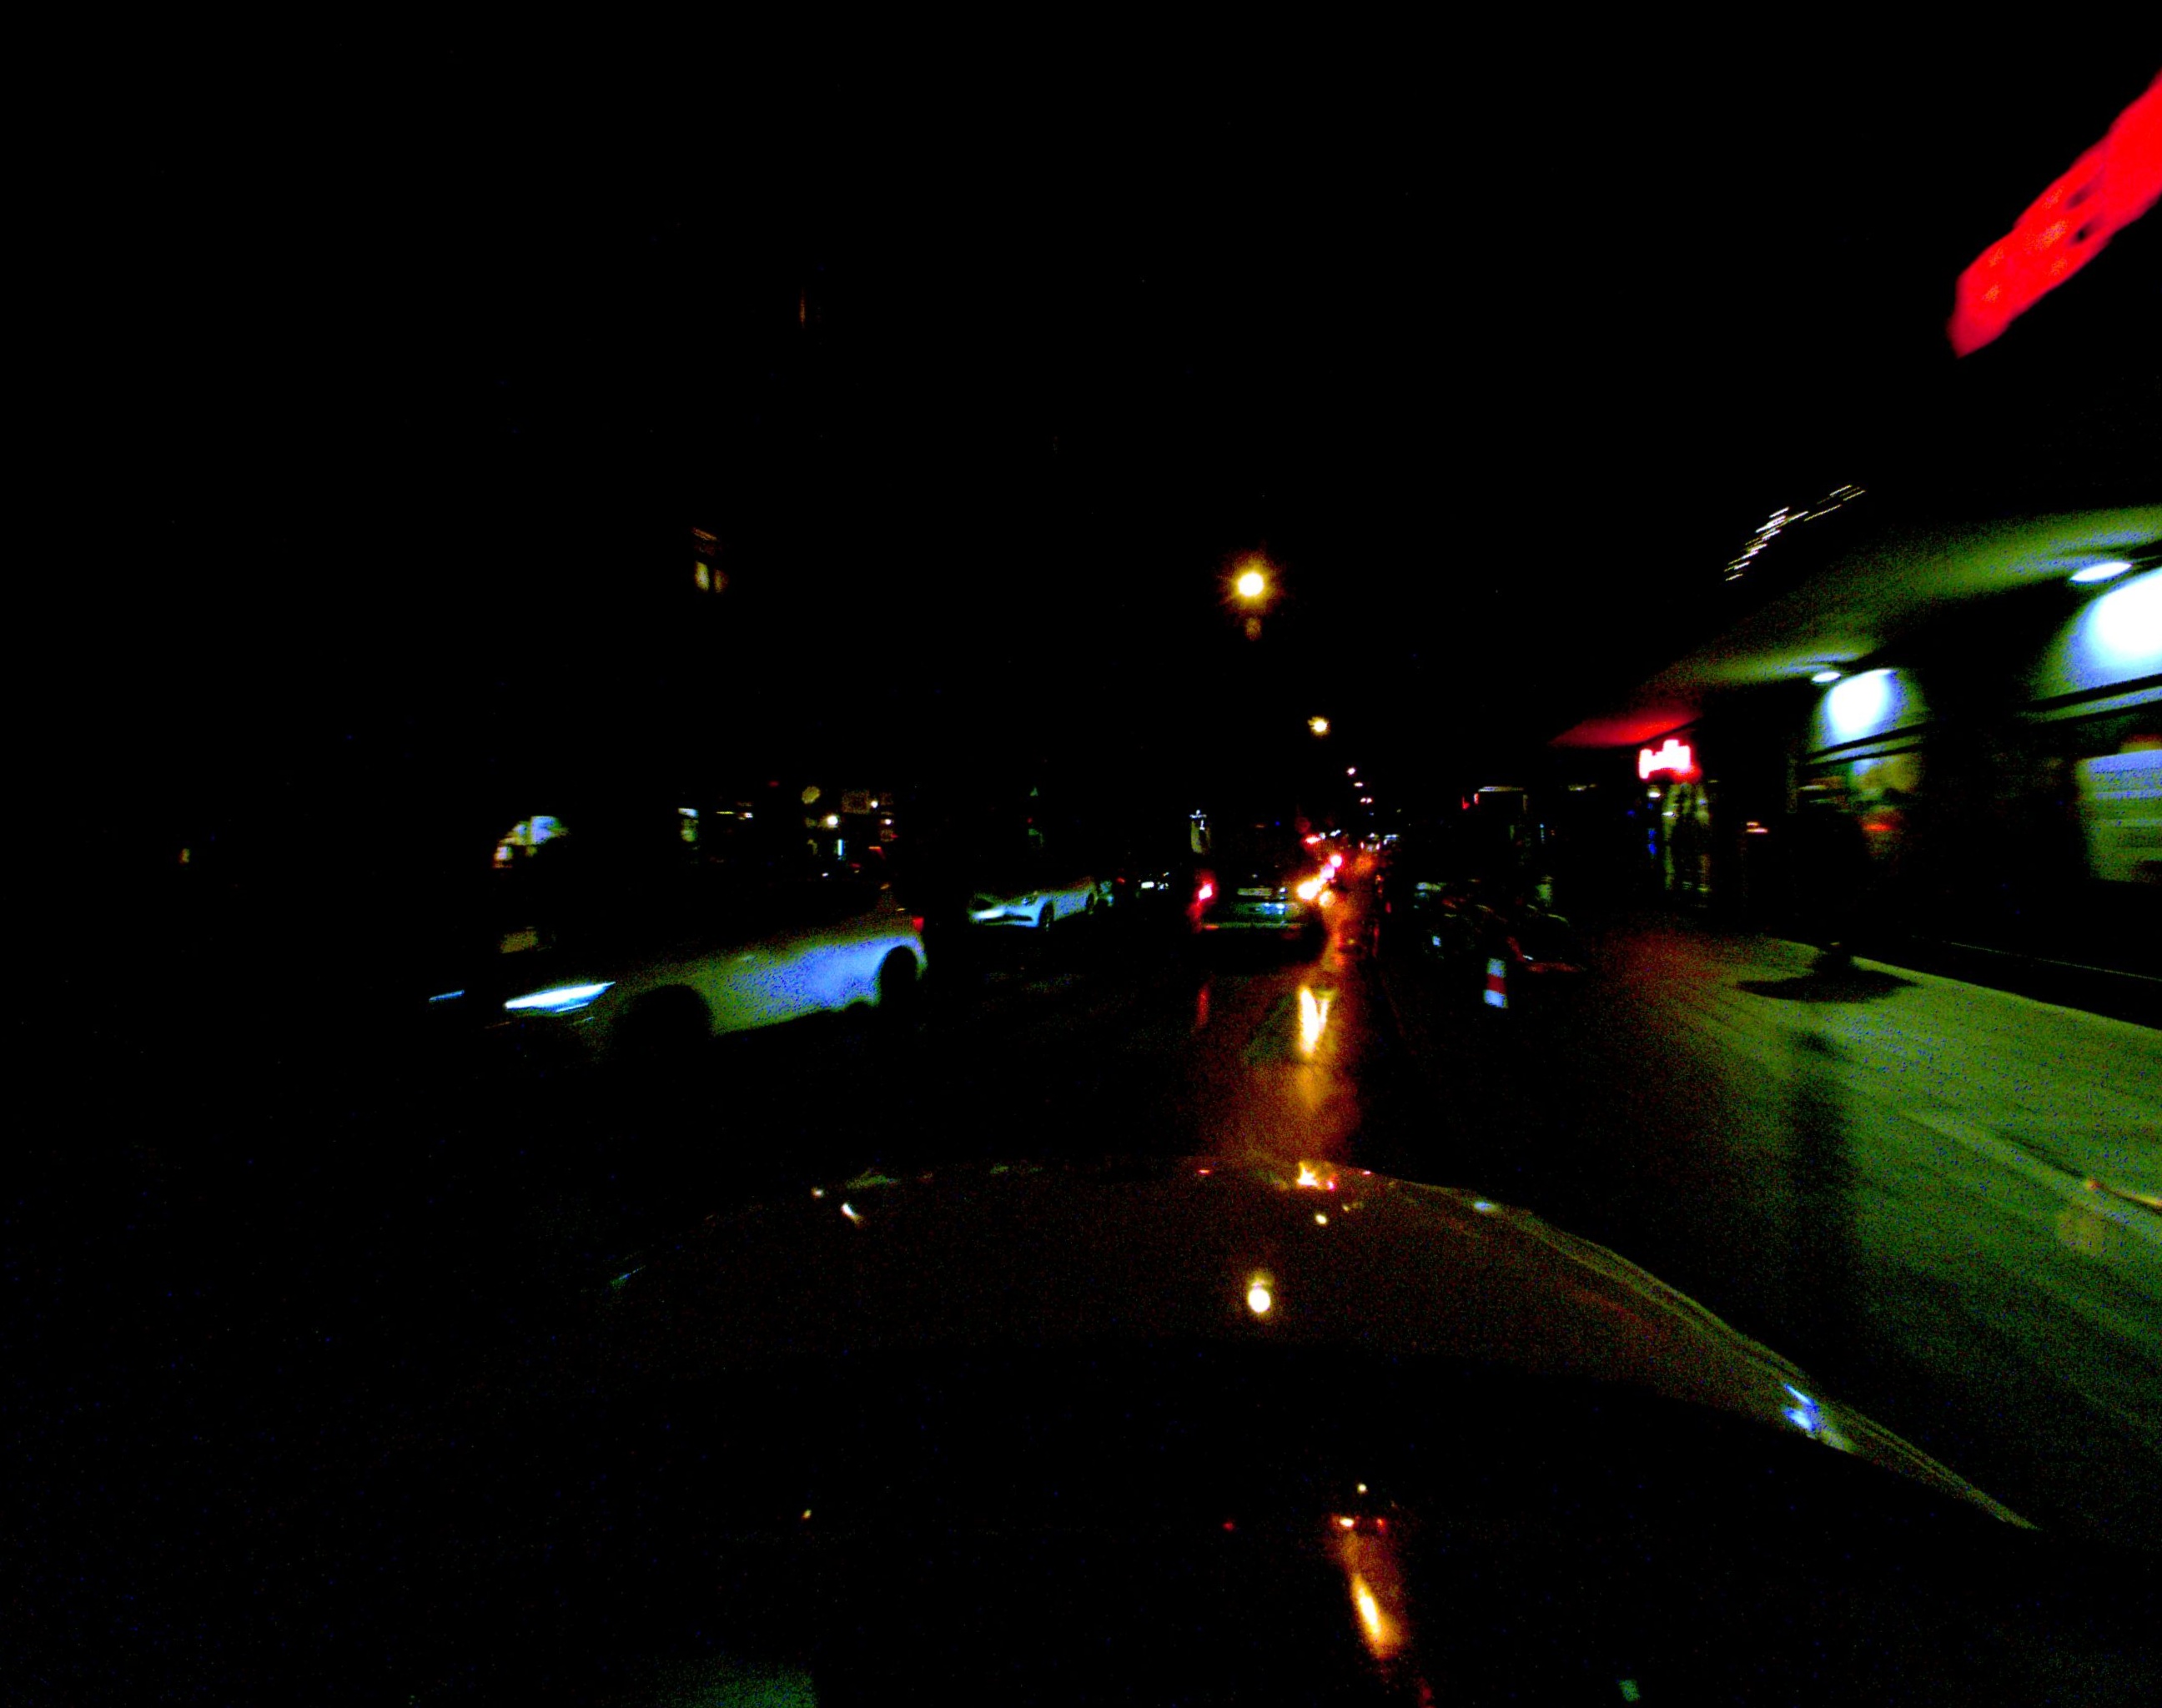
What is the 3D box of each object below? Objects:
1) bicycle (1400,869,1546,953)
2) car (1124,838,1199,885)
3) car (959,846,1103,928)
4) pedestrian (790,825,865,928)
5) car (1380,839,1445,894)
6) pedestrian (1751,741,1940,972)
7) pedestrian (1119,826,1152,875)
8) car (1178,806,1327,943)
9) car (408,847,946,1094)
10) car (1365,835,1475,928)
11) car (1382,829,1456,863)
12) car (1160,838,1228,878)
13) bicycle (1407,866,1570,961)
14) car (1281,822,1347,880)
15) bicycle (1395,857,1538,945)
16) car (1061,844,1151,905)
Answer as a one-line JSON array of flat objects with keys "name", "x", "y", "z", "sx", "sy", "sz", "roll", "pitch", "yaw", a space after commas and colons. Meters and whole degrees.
[{"name": "bicycle", "x": 5.363, "y": 0.783, "z": 11.231, "sx": 1.747, "sy": 1.079, "sz": 0.438, "roll": -2, "pitch": 1, "yaw": 19}, {"name": "car", "x": 2.783, "y": 0.209, "z": 27.472, "sx": 1.572, "sy": 1.448, "sz": 3.522, "roll": -1, "pitch": 1, "yaw": 21}, {"name": "car", "x": -0.951, "y": 0.609, "z": 17.777, "sx": 1.573, "sy": 1.463, "sz": 4.046, "roll": 2, "pitch": 2, "yaw": 21}, {"name": "pedestrian", "x": -4.551, "y": 0.374, "z": 14.670, "sx": 0.796, "sy": 1.766, "sz": 1.022, "roll": 0, "pitch": 1, "yaw": 27}, {"name": "car", "x": 10.466, "y": 0.353, "z": 25.935, "sx": 1.738, "sy": 1.608, "sz": 4.010, "roll": 0, "pitch": 0, "yaw": 20}, {"name": "pedestrian", "x": 7.803, "y": 0.038, "z": 8.393, "sx": 1.045, "sy": 2.208, "sz": 0.975, "roll": -3, "pitch": 0, "yaw": 21}, {"name": "pedestrian", "x": 2.133, "y": -0.139, "z": 31.853, "sx": 1.022, "sy": 1.864, "sz": 0.983, "roll": 0, "pitch": 1, "yaw": 24}, {"name": "car", "x": 3.205, "y": 0.261, "z": 14.386, "sx": 2.106, "sy": 1.991, "sz": 4.622, "roll": -1, "pitch": 1, "yaw": 17}, {"name": "car", "x": -3.077, "y": 0.740, "z": 7.208, "sx": 1.548, "sy": 1.427, "sz": 4.094, "roll": -3, "pitch": 1, "yaw": 26}, {"name": "car", "x": 6.502, "y": 0.441, "z": 15.930, "sx": 1.738, "sy": 1.565, "sz": 4.175, "roll": 0, "pitch": 0, "yaw": 20}, {"name": "car", "x": 21.796, "y": -0.480, "z": 52.598, "sx": 3.968, "sy": 2.014, "sz": 2.002, "roll": -2, "pitch": -1, "yaw": 4}, {"name": "car", "x": 4.560, "y": 0.119, "z": 32.277, "sx": 1.675, "sy": 1.400, "sz": 4.340, "roll": -1, "pitch": 1, "yaw": 21}, {"name": "bicycle", "x": 5.106, "y": 0.750, "z": 10.289, "sx": 1.768, "sy": 1.125, "sz": 0.438, "roll": -2, "pitch": 1, "yaw": 19}, {"name": "car", "x": 8.526, "y": -0.170, "z": 29.549, "sx": 2.106, "sy": 1.922, "sz": 4.849, "roll": -1, "pitch": 1, "yaw": 18}, {"name": "bicycle", "x": 5.559, "y": 0.683, "z": 11.833, "sx": 1.747, "sy": 1.125, "sz": 0.438, "roll": -5, "pitch": 0, "yaw": 19}, {"name": "car", "x": 0.748, "y": 0.519, "z": 22.300, "sx": 1.572, "sy": 1.509, "sz": 2.802, "roll": -1, "pitch": 1, "yaw": 21}]
